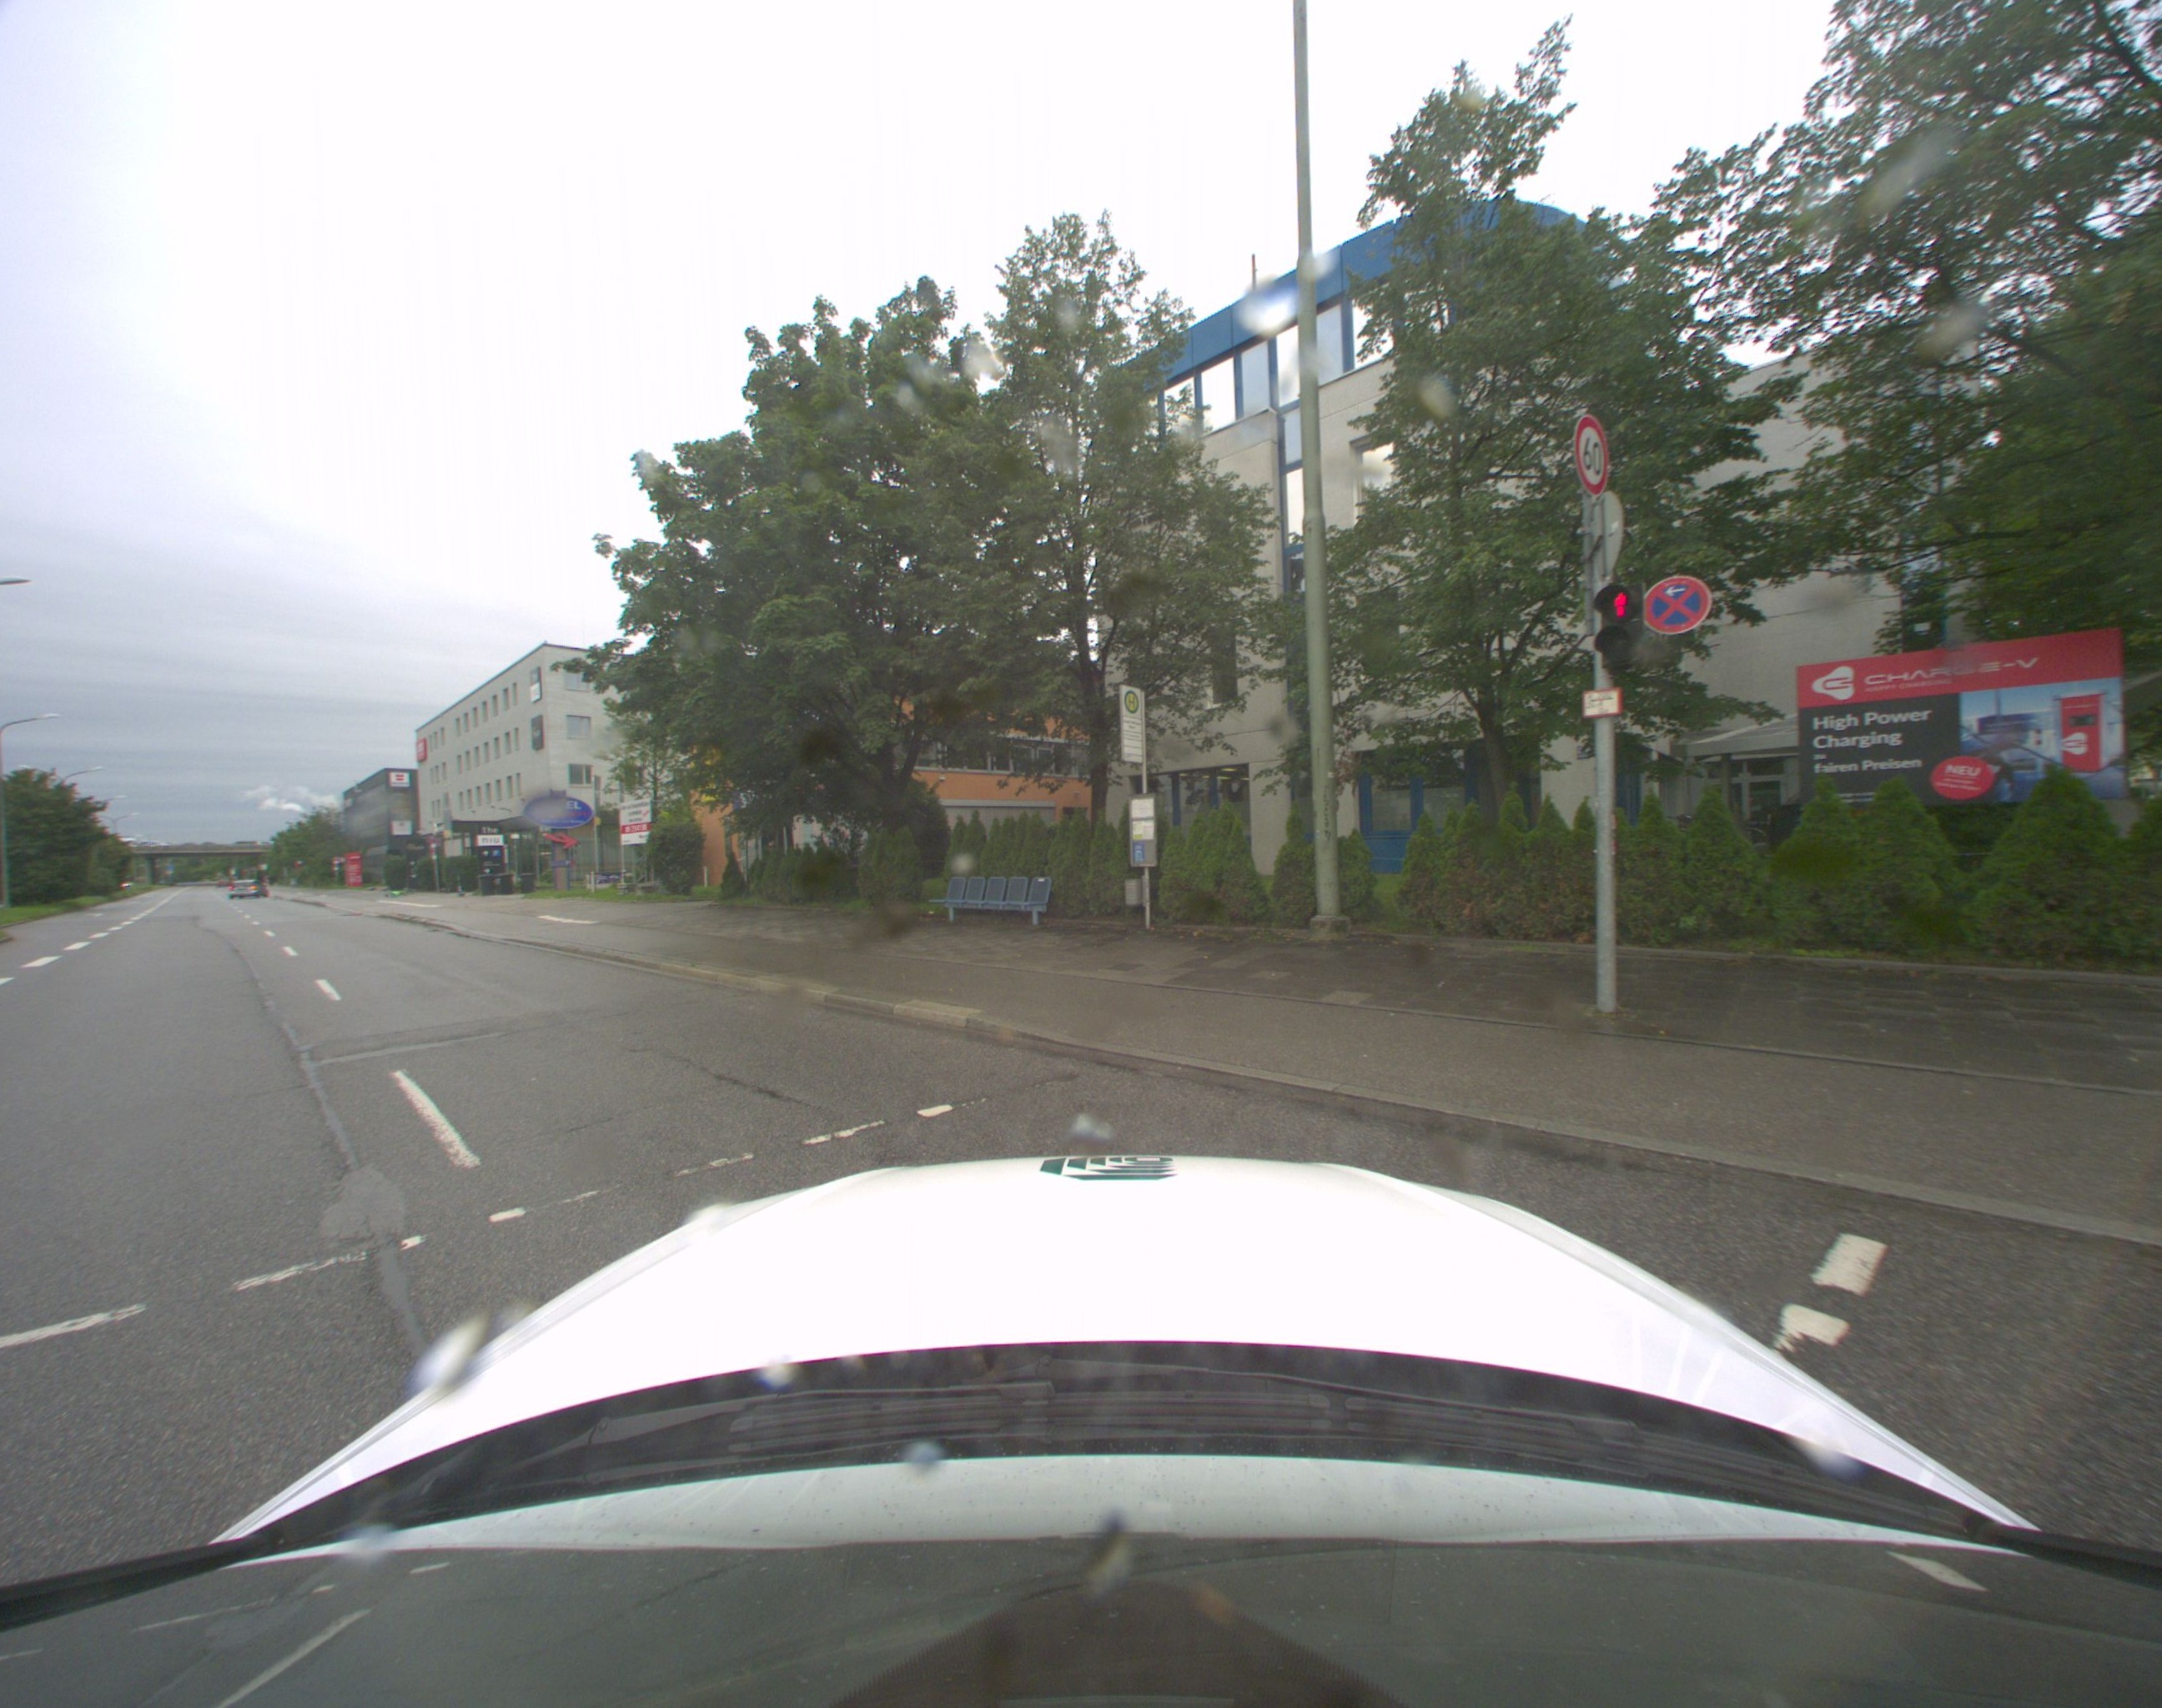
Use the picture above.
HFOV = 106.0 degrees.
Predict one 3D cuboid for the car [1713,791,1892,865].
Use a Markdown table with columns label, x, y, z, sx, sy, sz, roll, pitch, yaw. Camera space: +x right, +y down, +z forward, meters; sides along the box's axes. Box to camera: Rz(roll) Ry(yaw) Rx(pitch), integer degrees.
| label | x | y | z | sx | sy | sz | roll | pitch | yaw |
| --- | --- | --- | --- | --- | --- | --- | --- | --- | --- |
| car | 16.417 | -0.610 | 18.496 | 4.190 | 1.418 | 1.851 | -4 | 2 | -31 |

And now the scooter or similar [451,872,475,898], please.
| label | x | y | z | sx | sy | sz | roll | pitch | yaw |
| --- | --- | --- | --- | --- | --- | --- | --- | --- | --- |
| scooter or similar | -31.592 | 1.575 | 41.608 | 1.386 | 1.277 | 0.591 | -2 | 5 | 43 |

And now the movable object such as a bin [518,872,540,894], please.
| label | x | y | z | sx | sy | sz | roll | pitch | yaw |
| --- | --- | --- | --- | --- | --- | --- | --- | --- | --- |
| movable object such as a bin | -28.115 | 1.464 | 41.481 | 0.647 | 1.078 | 0.744 | -2 | 2 | 43 |

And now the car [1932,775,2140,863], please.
| label | x | y | z | sx | sy | sz | roll | pitch | yaw |
| --- | --- | --- | --- | --- | --- | --- | --- | --- | --- |
| car | 18.111 | -0.685 | 15.414 | 4.190 | 1.418 | 1.851 | -4 | 2 | -31 |

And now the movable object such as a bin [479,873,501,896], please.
| label | x | y | z | sx | sy | sz | roll | pitch | yaw |
| --- | --- | --- | --- | --- | --- | --- | --- | --- | --- |
| movable object such as a bin | -29.457 | 1.533 | 40.591 | 0.647 | 1.078 | 0.744 | -2 | 2 | 43 |

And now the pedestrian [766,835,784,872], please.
| label | x | y | z | sx | sy | sz | roll | pitch | yaw |
| --- | --- | --- | --- | --- | --- | --- | --- | --- | --- |
| pedestrian | -14.339 | -0.032 | 38.176 | 0.661 | 1.712 | 0.658 | -4 | 1 | -22 |

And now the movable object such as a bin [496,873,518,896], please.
| label | x | y | z | sx | sy | sz | roll | pitch | yaw |
| --- | --- | --- | --- | --- | --- | --- | --- | --- | --- |
| movable object such as a bin | -28.573 | 1.505 | 40.533 | 0.647 | 1.078 | 0.744 | -2 | 2 | 43 |

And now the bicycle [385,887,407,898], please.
| label | x | y | z | sx | sy | sz | roll | pitch | yaw |
| --- | --- | --- | --- | --- | --- | --- | --- | --- | --- |
| bicycle | -40.219 | 2.244 | 47.780 | 1.710 | 0.548 | 0.727 | -2 | 4 | 42 |

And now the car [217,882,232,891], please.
| label | x | y | z | sx | sy | sz | roll | pitch | yaw |
| --- | --- | --- | --- | --- | --- | --- | --- | --- | --- |
| car | -159.822 | 6.058 | 151.939 | 4.249 | 1.548 | 1.752 | -2 | 0 | 42 |

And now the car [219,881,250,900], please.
| label | x | y | z | sx | sy | sz | roll | pitch | yaw |
| --- | --- | --- | --- | --- | --- | --- | --- | --- | --- |
| car | -74.289 | 3.202 | 71.485 | 3.976 | 1.557 | 1.831 | -2 | 0 | 44 |

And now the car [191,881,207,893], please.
| label | x | y | z | sx | sy | sz | roll | pitch | yaw |
| --- | --- | --- | --- | --- | --- | --- | --- | --- | --- |
| car | -161.794 | 6.051 | 149.359 | 3.785 | 2.013 | 1.829 | -2 | 0 | 44 |
